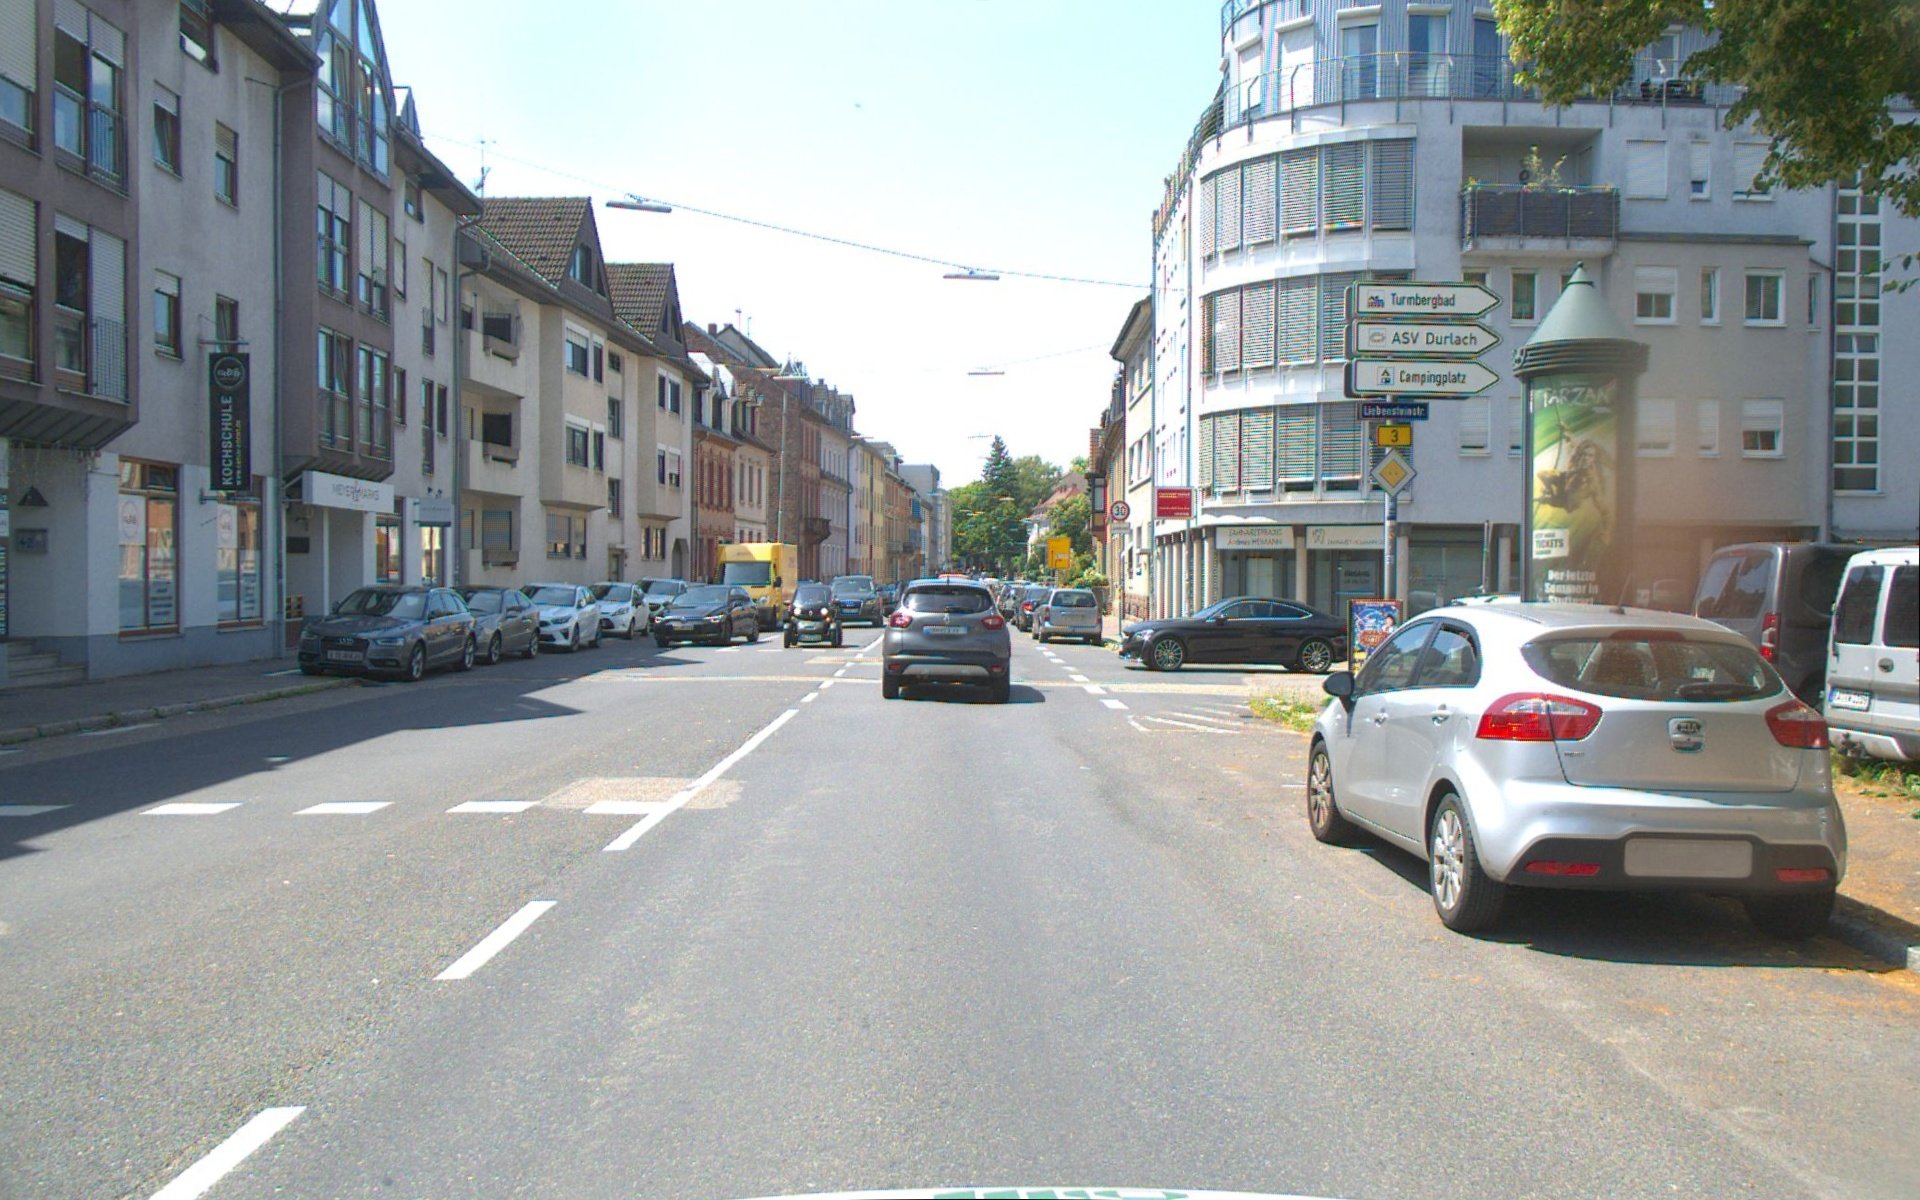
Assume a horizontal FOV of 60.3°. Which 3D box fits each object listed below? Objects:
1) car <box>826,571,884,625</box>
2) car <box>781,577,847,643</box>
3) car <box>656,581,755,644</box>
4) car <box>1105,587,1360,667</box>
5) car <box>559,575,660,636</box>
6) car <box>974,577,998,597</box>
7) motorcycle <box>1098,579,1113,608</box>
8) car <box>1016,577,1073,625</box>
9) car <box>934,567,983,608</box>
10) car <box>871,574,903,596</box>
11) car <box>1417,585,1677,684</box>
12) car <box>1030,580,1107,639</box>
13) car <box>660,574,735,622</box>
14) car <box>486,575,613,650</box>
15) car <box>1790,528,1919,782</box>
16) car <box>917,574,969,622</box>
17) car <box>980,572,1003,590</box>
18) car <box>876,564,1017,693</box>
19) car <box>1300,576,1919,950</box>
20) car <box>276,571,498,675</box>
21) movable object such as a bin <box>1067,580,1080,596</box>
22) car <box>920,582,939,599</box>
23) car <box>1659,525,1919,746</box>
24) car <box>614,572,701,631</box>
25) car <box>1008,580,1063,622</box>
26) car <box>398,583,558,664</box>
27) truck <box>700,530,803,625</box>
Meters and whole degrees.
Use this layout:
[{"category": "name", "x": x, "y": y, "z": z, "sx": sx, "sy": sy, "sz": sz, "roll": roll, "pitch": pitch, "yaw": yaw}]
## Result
[{"category": "car", "x": -3.436, "y": -0.082, "z": 54.317, "sx": 1.776, "sy": 1.649, "sz": 4.438, "roll": -1, "pitch": 1, "yaw": -3}, {"category": "car", "x": -3.377, "y": 0.203, "z": 38.391, "sx": 1.468, "sy": 1.484, "sz": 2.720, "roll": 0, "pitch": 1, "yaw": -5}, {"category": "car", "x": -6.119, "y": 0.274, "z": 40.146, "sx": 1.707, "sy": 1.444, "sz": 4.223, "roll": 0, "pitch": 1, "yaw": 0}, {"category": "car", "x": 5.141, "y": 0.498, "z": 31.629, "sx": 4.489, "sy": 1.389, "sz": 1.999, "roll": 1, "pitch": 1, "yaw": -3}, {"category": "car", "x": -9.521, "y": 0.122, "z": 45.291, "sx": 1.802, "sy": 1.515, "sz": 4.386, "roll": 3, "pitch": 0, "yaw": -1}, {"category": "car", "x": 2.132, "y": -1.054, "z": 133.792, "sx": 1.726, "sy": 1.587, "sz": 3.945, "roll": 0, "pitch": 1, "yaw": 4}, {"category": "motorcycle", "x": 6.330, "y": -0.285, "z": 72.046, "sx": 0.583, "sy": 1.246, "sz": 1.362, "roll": 0, "pitch": 0, "yaw": 1}, {"category": "car", "x": 2.739, "y": 0.000, "z": 54.121, "sx": 1.676, "sy": 1.499, "sz": 4.439, "roll": 0, "pitch": 1, "yaw": 1}, {"category": "car", "x": -0.042, "y": -0.667, "z": 86.831, "sx": 1.951, "sy": 2.049, "sz": 4.470, "roll": 0, "pitch": 1, "yaw": 8}, {"category": "car", "x": -5.330, "y": -1.089, "z": 120.526, "sx": 1.801, "sy": 1.447, "sz": 4.560, "roll": -3, "pitch": 0, "yaw": 3}, {"category": "car", "x": 10.039, "y": 0.576, "z": 28.444, "sx": 3.908, "sy": 1.582, "sz": 1.569, "roll": 1, "pitch": 0, "yaw": -4}, {"category": "car", "x": 2.889, "y": 0.225, "z": 44.857, "sx": 1.644, "sy": 1.479, "sz": 4.141, "roll": 2, "pitch": 1, "yaw": -2}, {"category": "car", "x": -9.012, "y": -0.071, "z": 57.108, "sx": 1.802, "sy": 1.514, "sz": 4.387, "roll": 3, "pitch": 0, "yaw": 0}, {"category": "car", "x": -9.267, "y": 0.247, "z": 37.672, "sx": 1.802, "sy": 1.515, "sz": 4.385, "roll": 3, "pitch": 0, "yaw": -1}, {"category": "car", "x": 8.205, "y": 0.360, "z": 11.889, "sx": 3.690, "sy": 1.696, "sz": 1.662, "roll": 0, "pitch": 0, "yaw": -5}, {"category": "car", "x": -0.586, "y": -0.092, "z": 61.164, "sx": 1.775, "sy": 1.649, "sz": 4.442, "roll": -1, "pitch": 0, "yaw": 1}, {"category": "car", "x": 2.730, "y": -1.635, "z": 141.734, "sx": 1.726, "sy": 1.587, "sz": 3.945, "roll": 0, "pitch": 1, "yaw": 4}, {"category": "car", "x": -0.270, "y": 0.340, "z": 23.402, "sx": 1.709, "sy": 1.644, "sz": 3.997, "roll": 1, "pitch": 1, "yaw": -4}, {"category": "car", "x": 3.081, "y": 0.660, "z": 8.760, "sx": 1.731, "sy": 1.511, "sz": 3.891, "roll": 1, "pitch": 0, "yaw": 0}, {"category": "car", "x": -9.271, "y": 0.333, "z": 27.244, "sx": 1.802, "sy": 1.472, "sz": 4.969, "roll": 3, "pitch": 0, "yaw": 1}, {"category": "movable object such as a bin", "x": 6.769, "y": -0.723, "z": 98.658, "sx": 0.772, "sy": 0.923, "sz": 0.539, "roll": 0, "pitch": 0, "yaw": -1}, {"category": "car", "x": -3.034, "y": -0.940, "z": 165.450, "sx": 1.866, "sy": 1.648, "sz": 4.302, "roll": -2, "pitch": 1, "yaw": -1}, {"category": "car", "x": 8.544, "y": 0.310, "z": 14.559, "sx": 3.906, "sy": 1.781, "sz": 2.016, "roll": 1, "pitch": 0, "yaw": -2}, {"category": "car", "x": -9.197, "y": 0.026, "z": 50.584, "sx": 1.802, "sy": 1.623, "sz": 4.386, "roll": 3, "pitch": 0, "yaw": -1}, {"category": "car", "x": 2.705, "y": -0.001, "z": 59.653, "sx": 1.618, "sy": 1.445, "sz": 4.047, "roll": 0, "pitch": 1, "yaw": -2}, {"category": "car", "x": -9.332, "y": 0.415, "z": 32.379, "sx": 1.802, "sy": 1.408, "sz": 4.327, "roll": 3, "pitch": 0, "yaw": 0}, {"category": "truck", "x": -6.657, "y": -0.715, "z": 53.718, "sx": 2.179, "sy": 2.819, "sz": 7.565, "roll": -1, "pitch": 1, "yaw": 1}]
